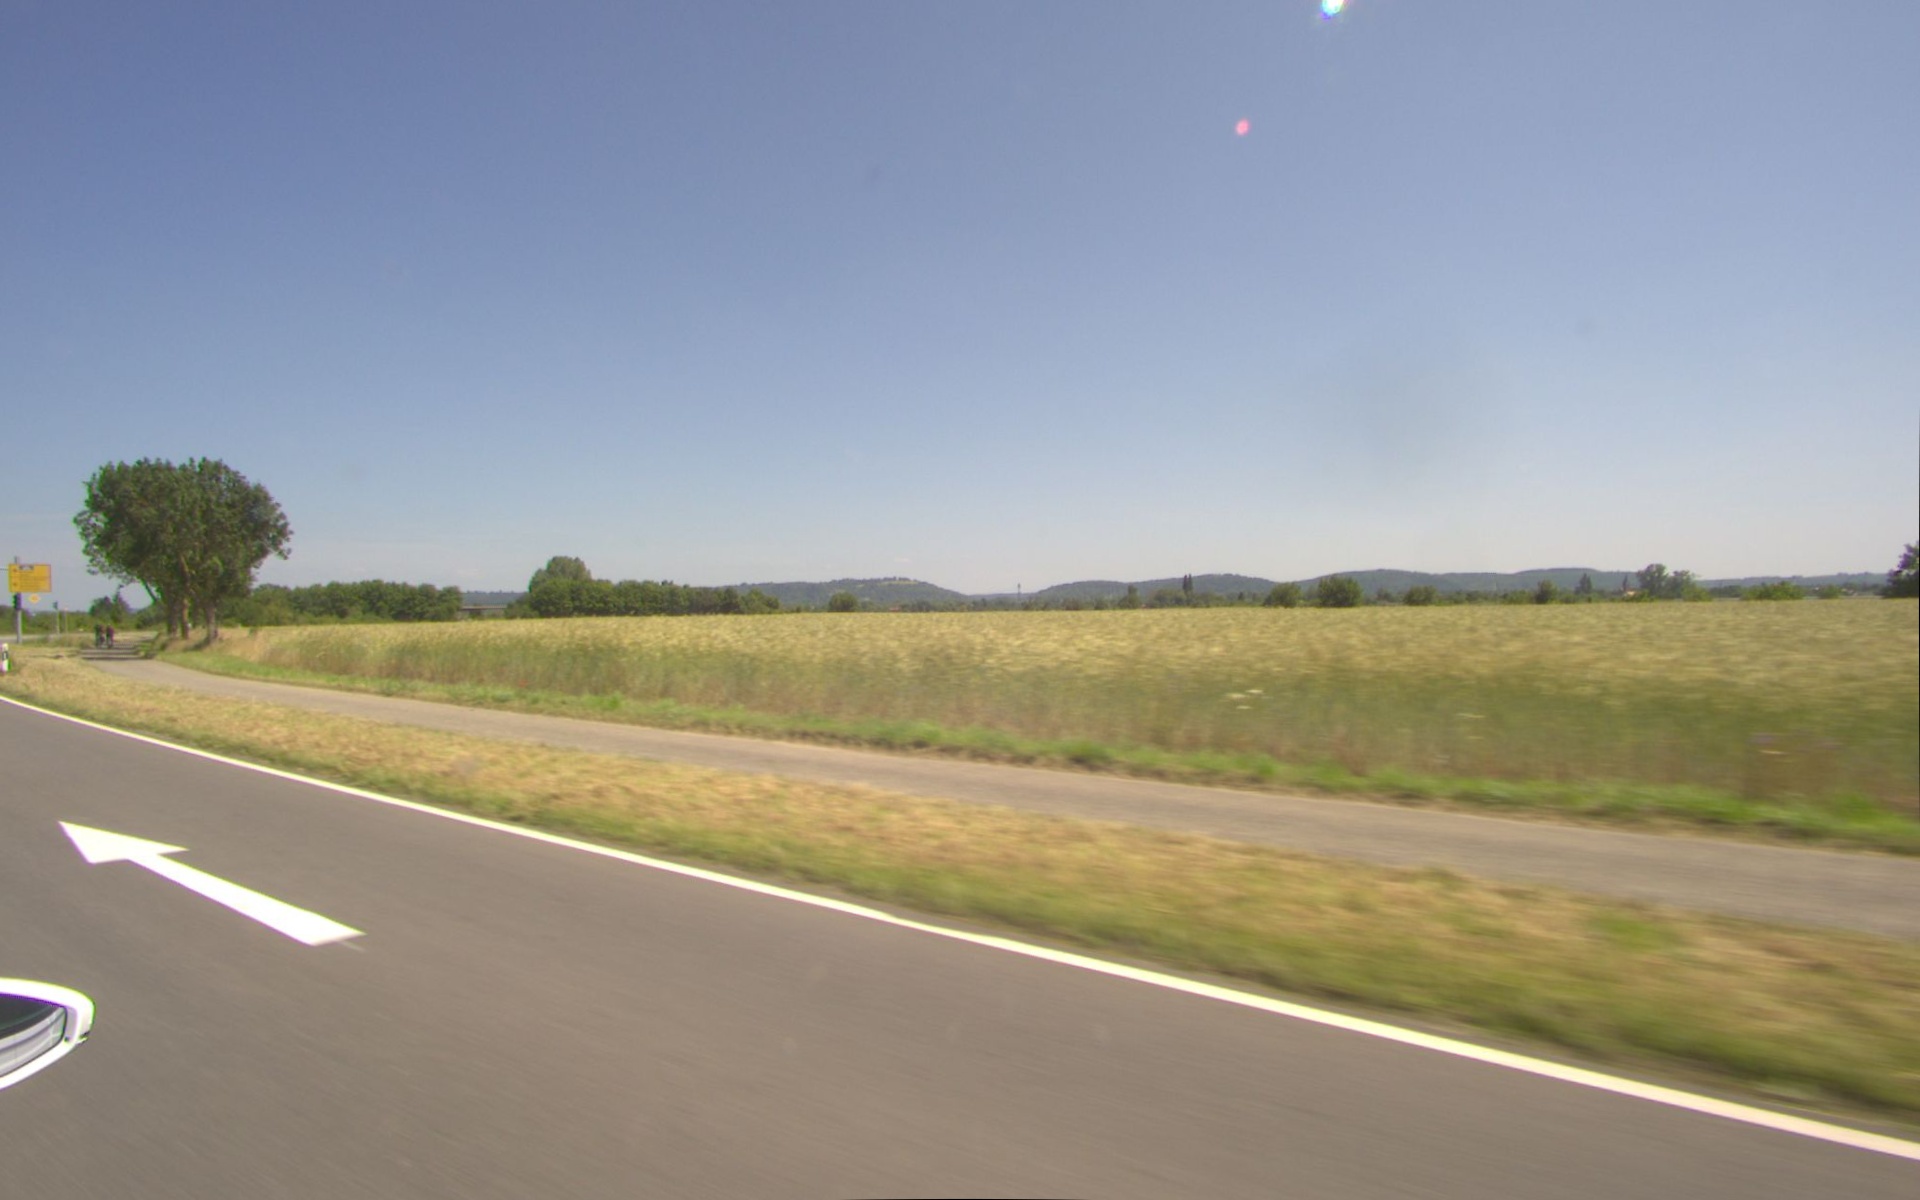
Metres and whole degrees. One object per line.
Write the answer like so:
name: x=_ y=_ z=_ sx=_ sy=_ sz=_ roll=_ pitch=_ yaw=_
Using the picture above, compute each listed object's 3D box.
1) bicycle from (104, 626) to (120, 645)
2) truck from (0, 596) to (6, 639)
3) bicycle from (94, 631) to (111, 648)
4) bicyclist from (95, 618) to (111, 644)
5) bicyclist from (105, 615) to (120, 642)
bicycle: x=-57.377 y=2.406 z=67.756 sx=0.693 sy=1.225 sz=2.035 roll=3 pitch=-3 yaw=-38
truck: x=-71.502 y=1.300 z=72.763 sx=2.693 sy=3.091 sz=8.096 roll=0 pitch=-2 yaw=-40
bicycle: x=-60.130 y=2.762 z=70.227 sx=0.600 sy=1.191 sz=2.038 roll=4 pitch=-3 yaw=-34
bicyclist: x=-60.113 y=2.157 z=70.259 sx=0.582 sy=1.756 sz=1.164 roll=5 pitch=-3 yaw=-34
bicyclist: x=-57.302 y=1.921 z=67.705 sx=0.623 sy=1.805 sz=0.970 roll=5 pitch=-3 yaw=-37
